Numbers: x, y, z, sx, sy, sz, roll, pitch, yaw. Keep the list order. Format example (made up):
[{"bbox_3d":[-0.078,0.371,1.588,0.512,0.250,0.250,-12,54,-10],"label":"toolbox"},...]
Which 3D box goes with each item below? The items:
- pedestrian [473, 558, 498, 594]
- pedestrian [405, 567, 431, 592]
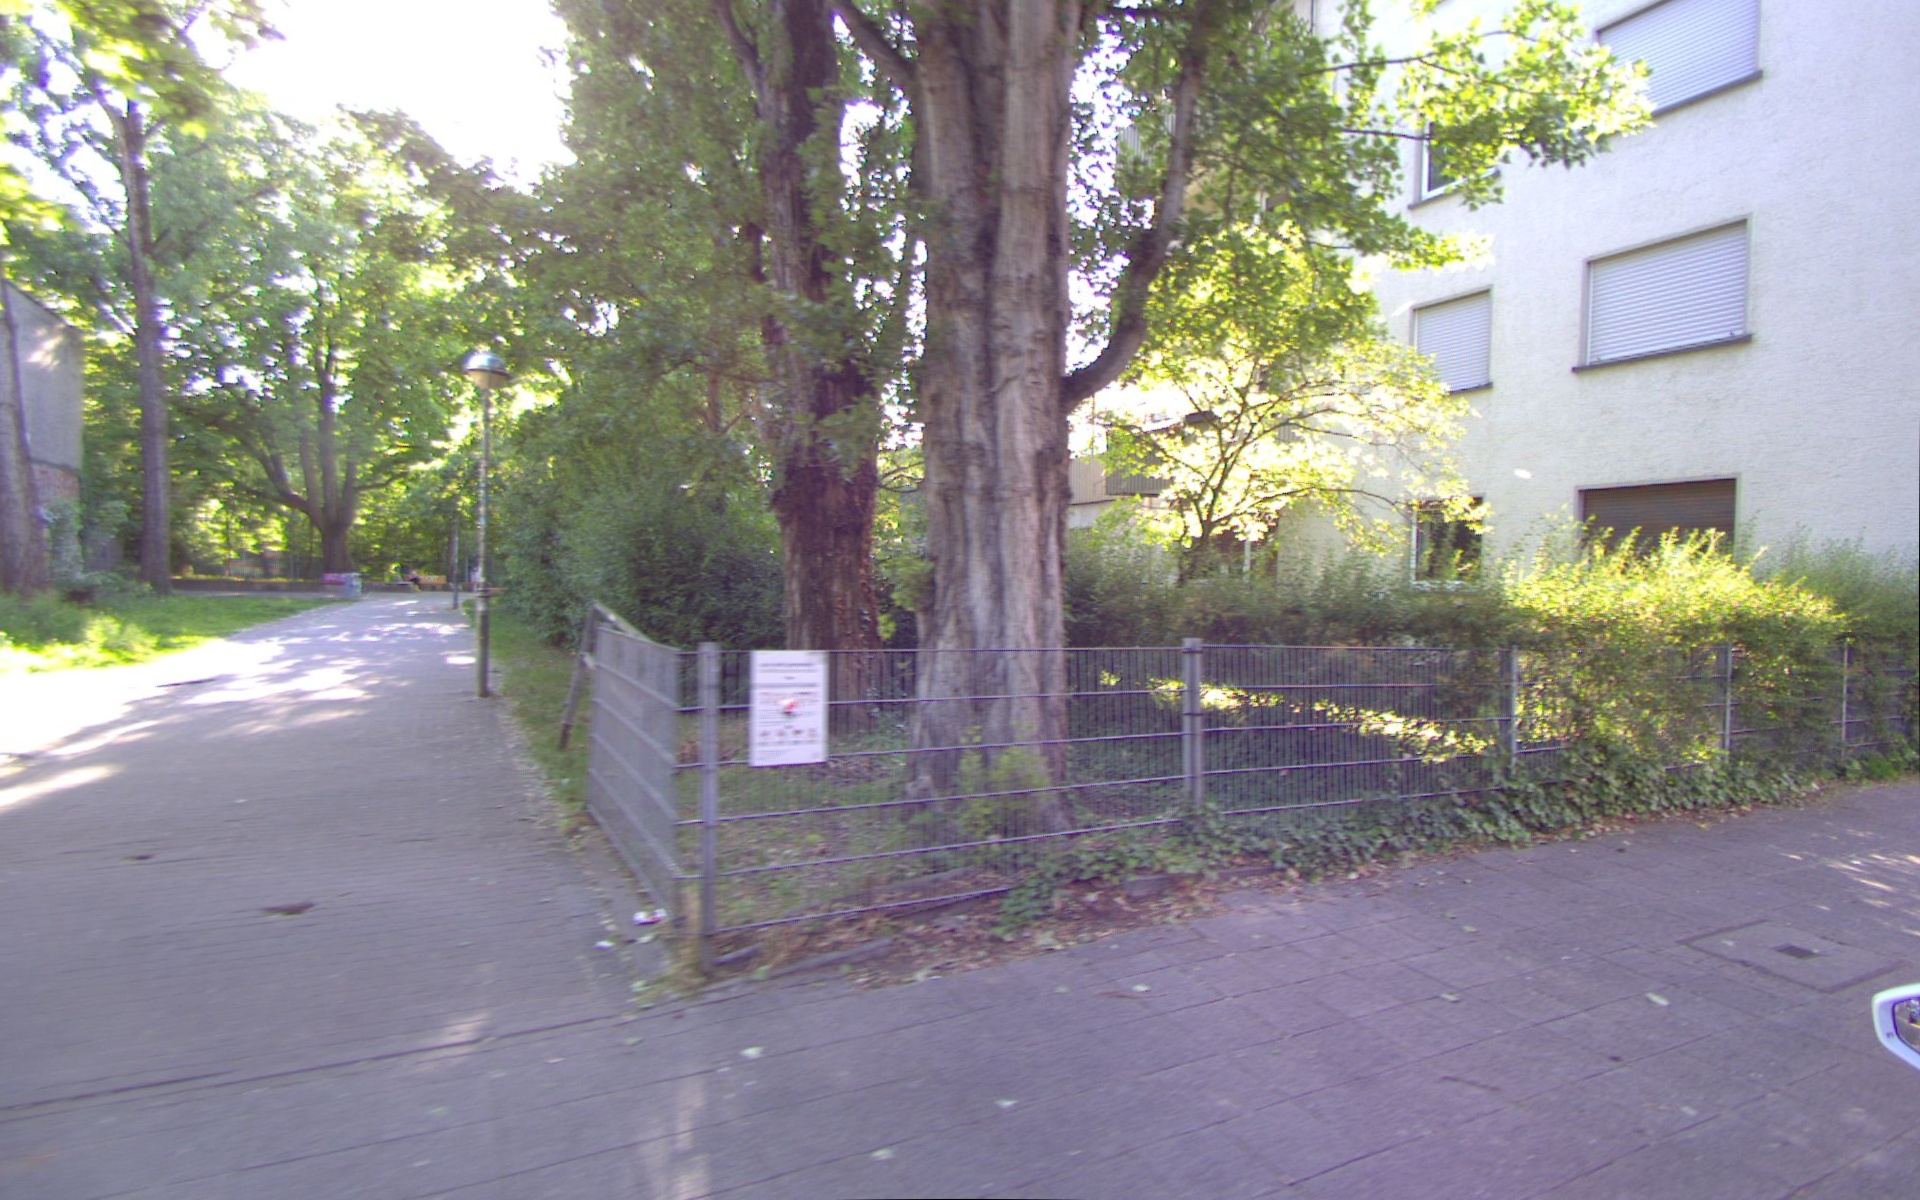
[{"bbox_3d":[-21.972,-1.110,46.489,0.753,1.603,0.766,2,2,36],"label":"pedestrian"},{"bbox_3d":[-24.776,-0.947,45.917,0.753,1.106,0.766,2,2,36],"label":"pedestrian"}]
